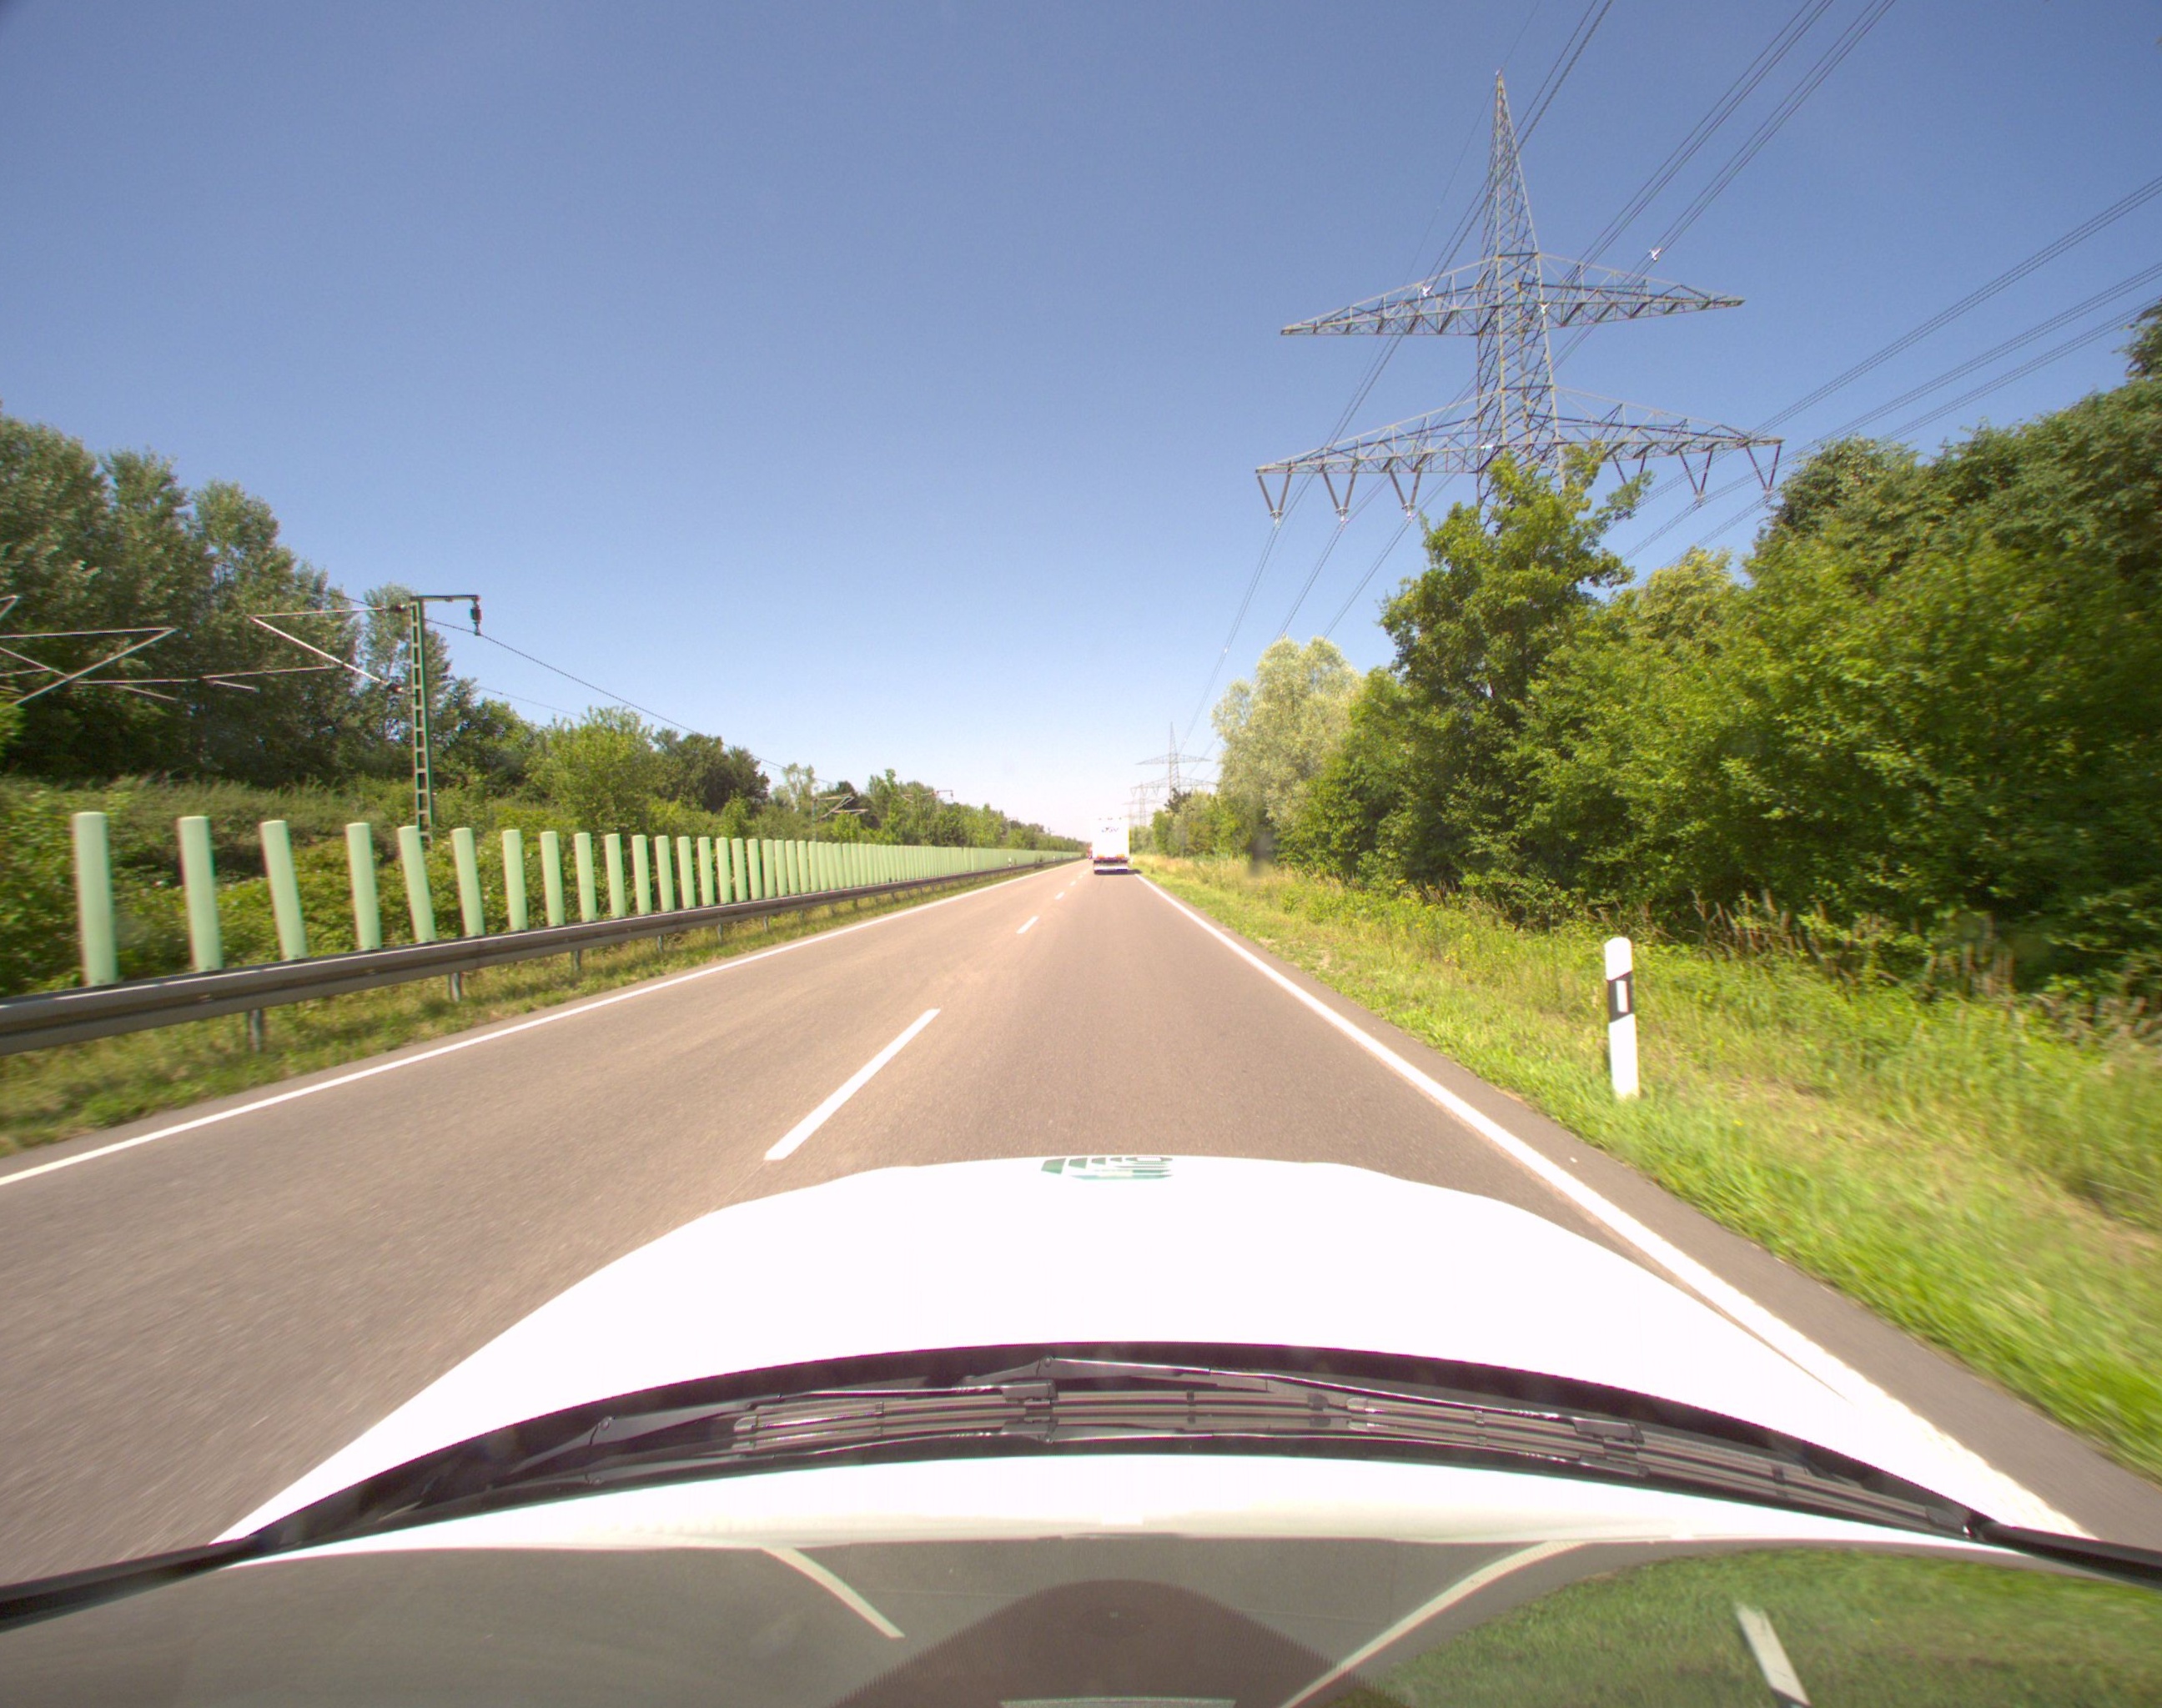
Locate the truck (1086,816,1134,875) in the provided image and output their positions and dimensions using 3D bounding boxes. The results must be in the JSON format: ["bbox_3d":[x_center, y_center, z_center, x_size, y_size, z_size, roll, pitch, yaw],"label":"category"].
[{"bbox_3d":[2.151,-0.616,62.477,3.180,4.042,12.010,-2,0,1],"label":"truck"}]

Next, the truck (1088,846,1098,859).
[{"bbox_3d":[3.532,-0.393,235.309,2.724,3.599,9.529,-2,0,1],"label":"truck"}]
